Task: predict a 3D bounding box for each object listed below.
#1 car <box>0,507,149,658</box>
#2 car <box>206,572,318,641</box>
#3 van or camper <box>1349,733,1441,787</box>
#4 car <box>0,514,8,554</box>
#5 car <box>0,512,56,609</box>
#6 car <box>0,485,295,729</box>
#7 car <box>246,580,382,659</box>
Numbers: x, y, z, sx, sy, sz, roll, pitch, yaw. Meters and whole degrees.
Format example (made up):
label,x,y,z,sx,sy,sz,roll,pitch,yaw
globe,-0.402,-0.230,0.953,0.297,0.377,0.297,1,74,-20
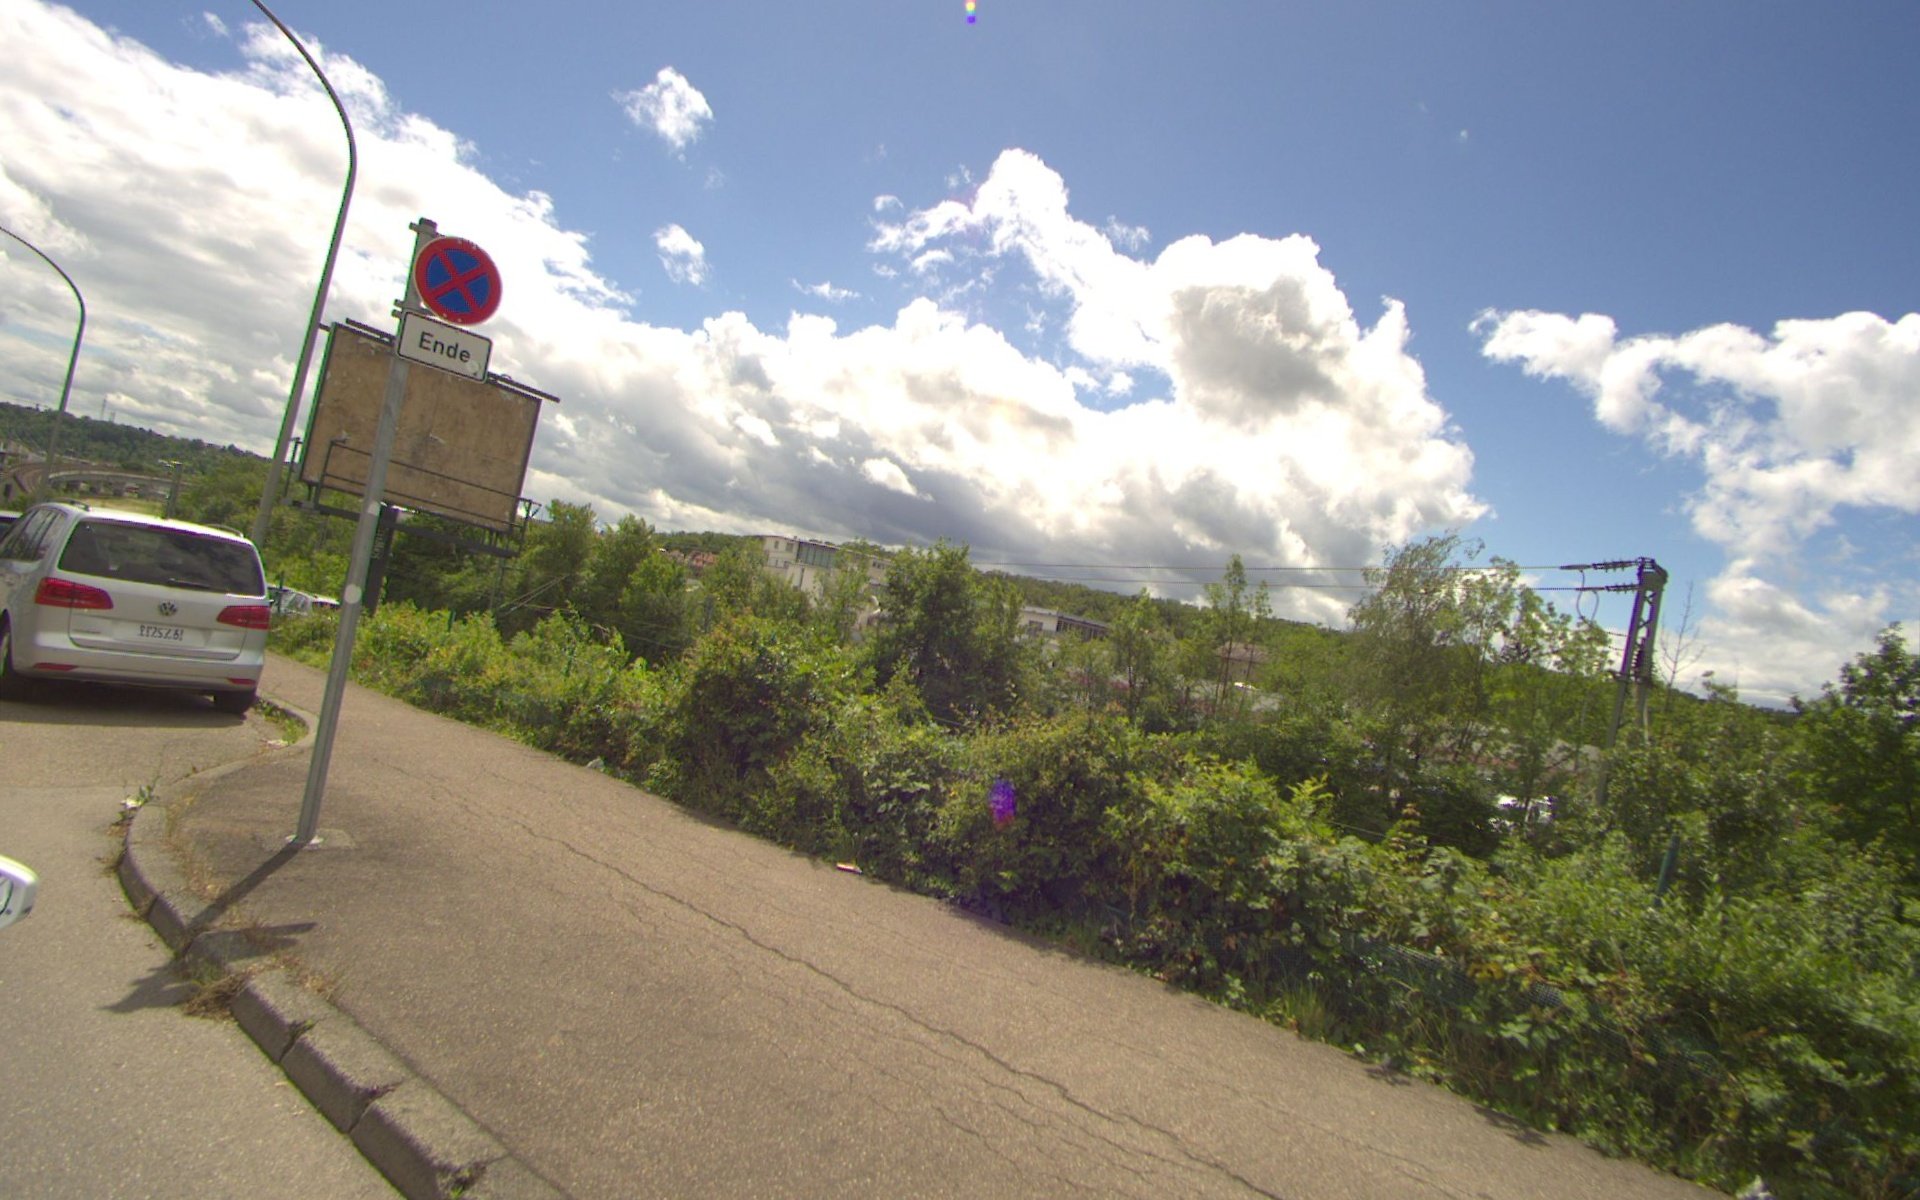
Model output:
label,x,y,z,sx,sy,sz,roll,pitch,yaw
car,-11.998,-0.377,12.726,4.507,1.502,1.707,6,-5,40
car,-21.150,0.187,30.454,3.643,1.526,1.707,6,-5,40
van or camper,29.905,10.958,69.278,1.919,2.718,5.244,13,-6,-41
car,-21.124,-1.230,20.654,3.643,1.526,1.707,6,-5,40
car,-17.293,-0.887,17.389,3.899,1.495,1.708,6,-4,39
car,-8.038,-0.035,9.393,4.246,1.695,1.707,6,-4,40
car,-17.647,0.498,27.400,4.464,1.526,1.707,6,-5,40
